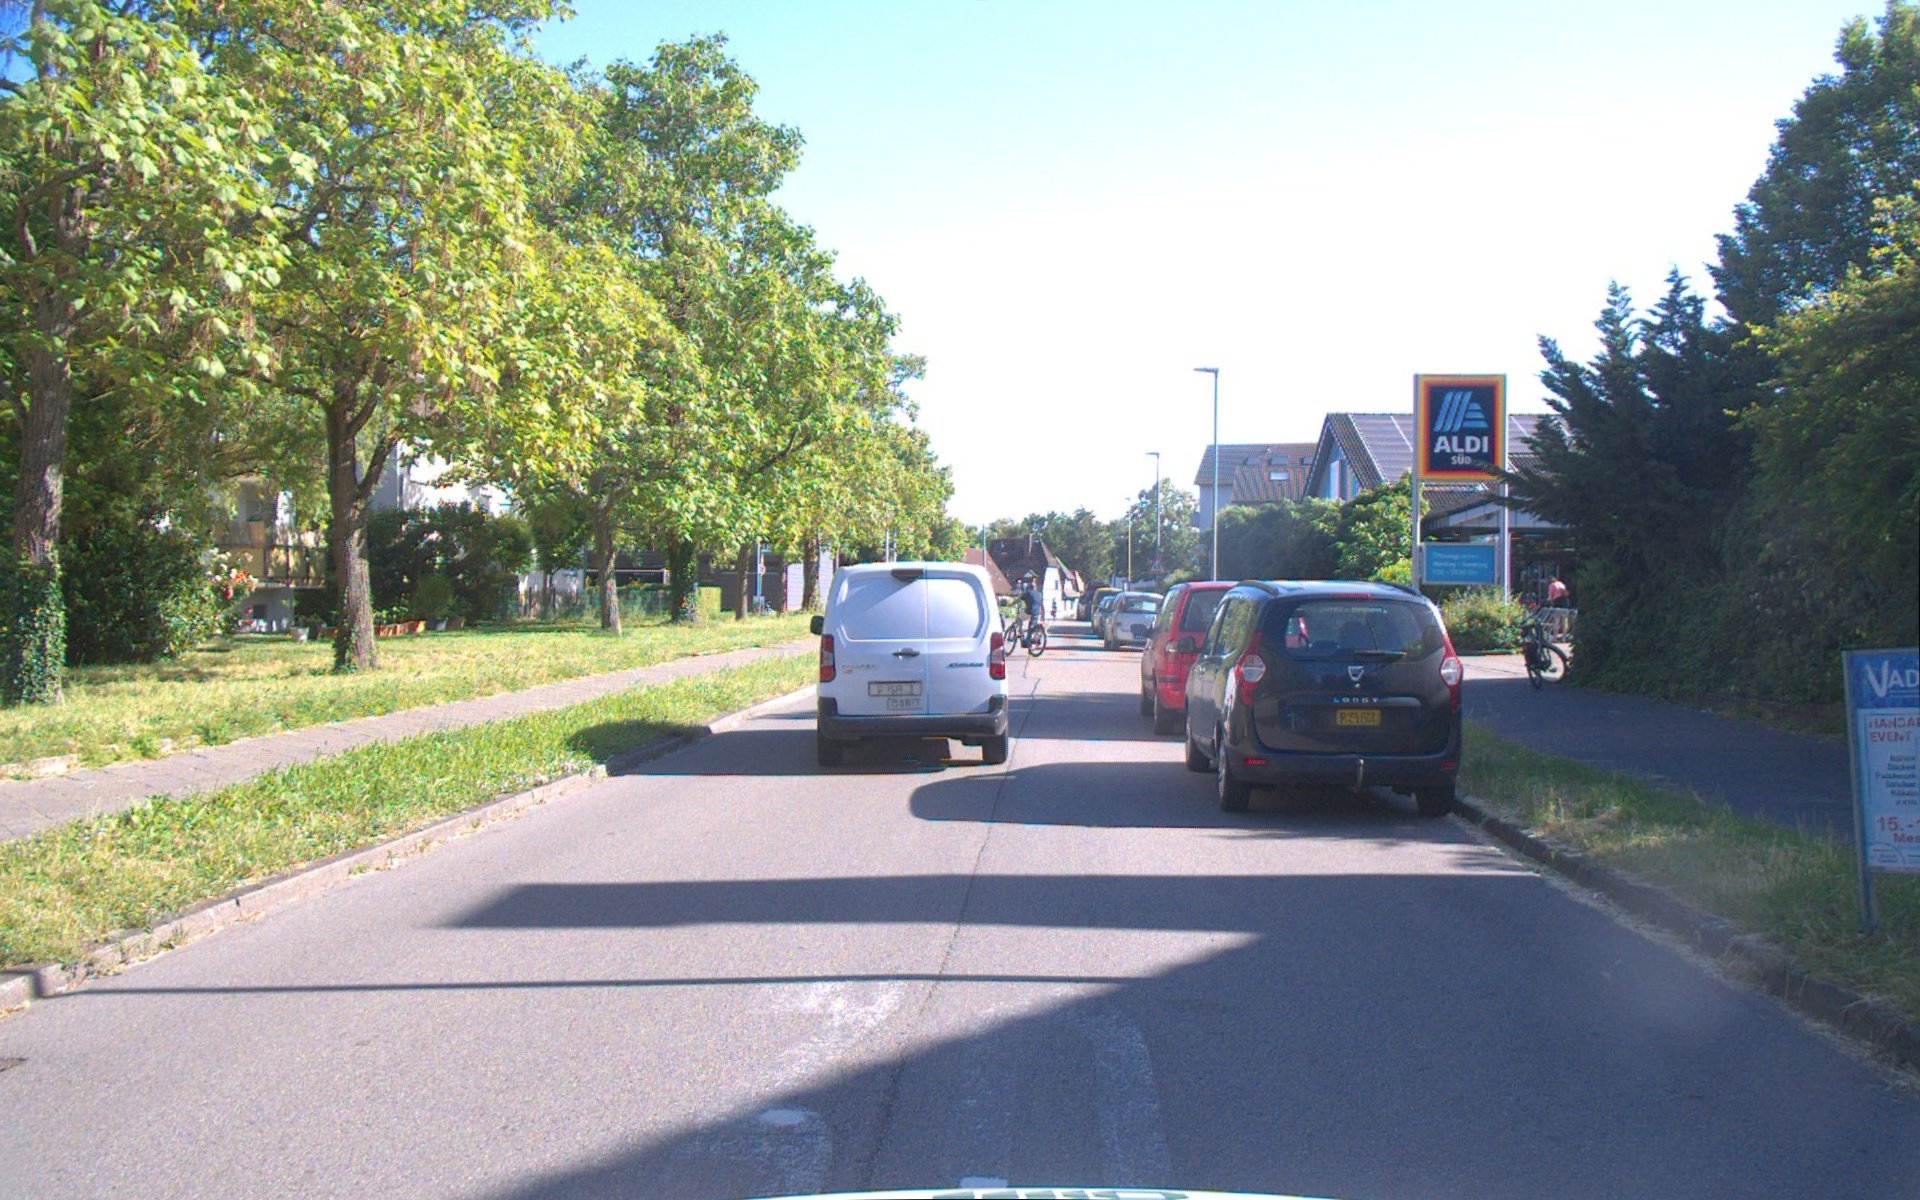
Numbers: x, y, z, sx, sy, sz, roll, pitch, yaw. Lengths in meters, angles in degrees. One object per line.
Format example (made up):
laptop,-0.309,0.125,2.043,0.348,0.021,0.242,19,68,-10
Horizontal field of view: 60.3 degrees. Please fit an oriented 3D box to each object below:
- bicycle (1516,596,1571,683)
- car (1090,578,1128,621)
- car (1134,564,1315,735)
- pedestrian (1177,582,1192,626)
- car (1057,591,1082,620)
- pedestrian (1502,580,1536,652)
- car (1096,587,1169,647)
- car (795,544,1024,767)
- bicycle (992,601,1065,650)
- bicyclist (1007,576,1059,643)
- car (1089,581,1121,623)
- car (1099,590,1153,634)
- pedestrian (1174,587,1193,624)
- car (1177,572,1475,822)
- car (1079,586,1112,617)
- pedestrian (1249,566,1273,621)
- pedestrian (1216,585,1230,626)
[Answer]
bicycle,8.750,0.585,24.818,0.705,1.242,1.896,-2,-1,19
car,6.790,-0.030,75.573,1.688,1.869,4.002,1,0,5
car,3.080,0.511,20.068,1.801,1.837,4.656,0,0,5
pedestrian,8.691,0.148,64.094,0.555,1.665,0.547,0,0,9
car,8.542,0.432,128.802,1.766,2.105,4.001,2,-1,2
pedestrian,13.068,0.360,38.666,0.677,1.660,0.776,0,0,25
car,4.855,0.466,46.920,1.645,1.627,4.028,1,0,0
car,-0.641,0.455,16.412,1.955,1.914,4.283,0,0,-6
bicycle,1.646,0.602,40.247,0.777,1.158,2.259,0,0,-27
bicyclist,1.771,0.238,40.258,0.896,1.612,0.957,1,-1,-29
car,9.577,0.154,109.593,1.828,2.607,4.769,2,-1,2
car,5.816,0.400,58.297,1.769,1.468,4.365,1,0,4
pedestrian,11.649,0.286,86.239,0.778,1.894,0.874,1,0,-4
car,2.758,0.638,13.365,1.688,1.685,4.355,0,0,3
car,8.368,0.120,102.401,1.766,1.816,4.001,2,-1,2
pedestrian,10.050,-0.208,55.215,0.781,1.813,0.809,0,0,12
pedestrian,10.660,0.219,67.099,0.555,1.665,0.547,0,0,9
